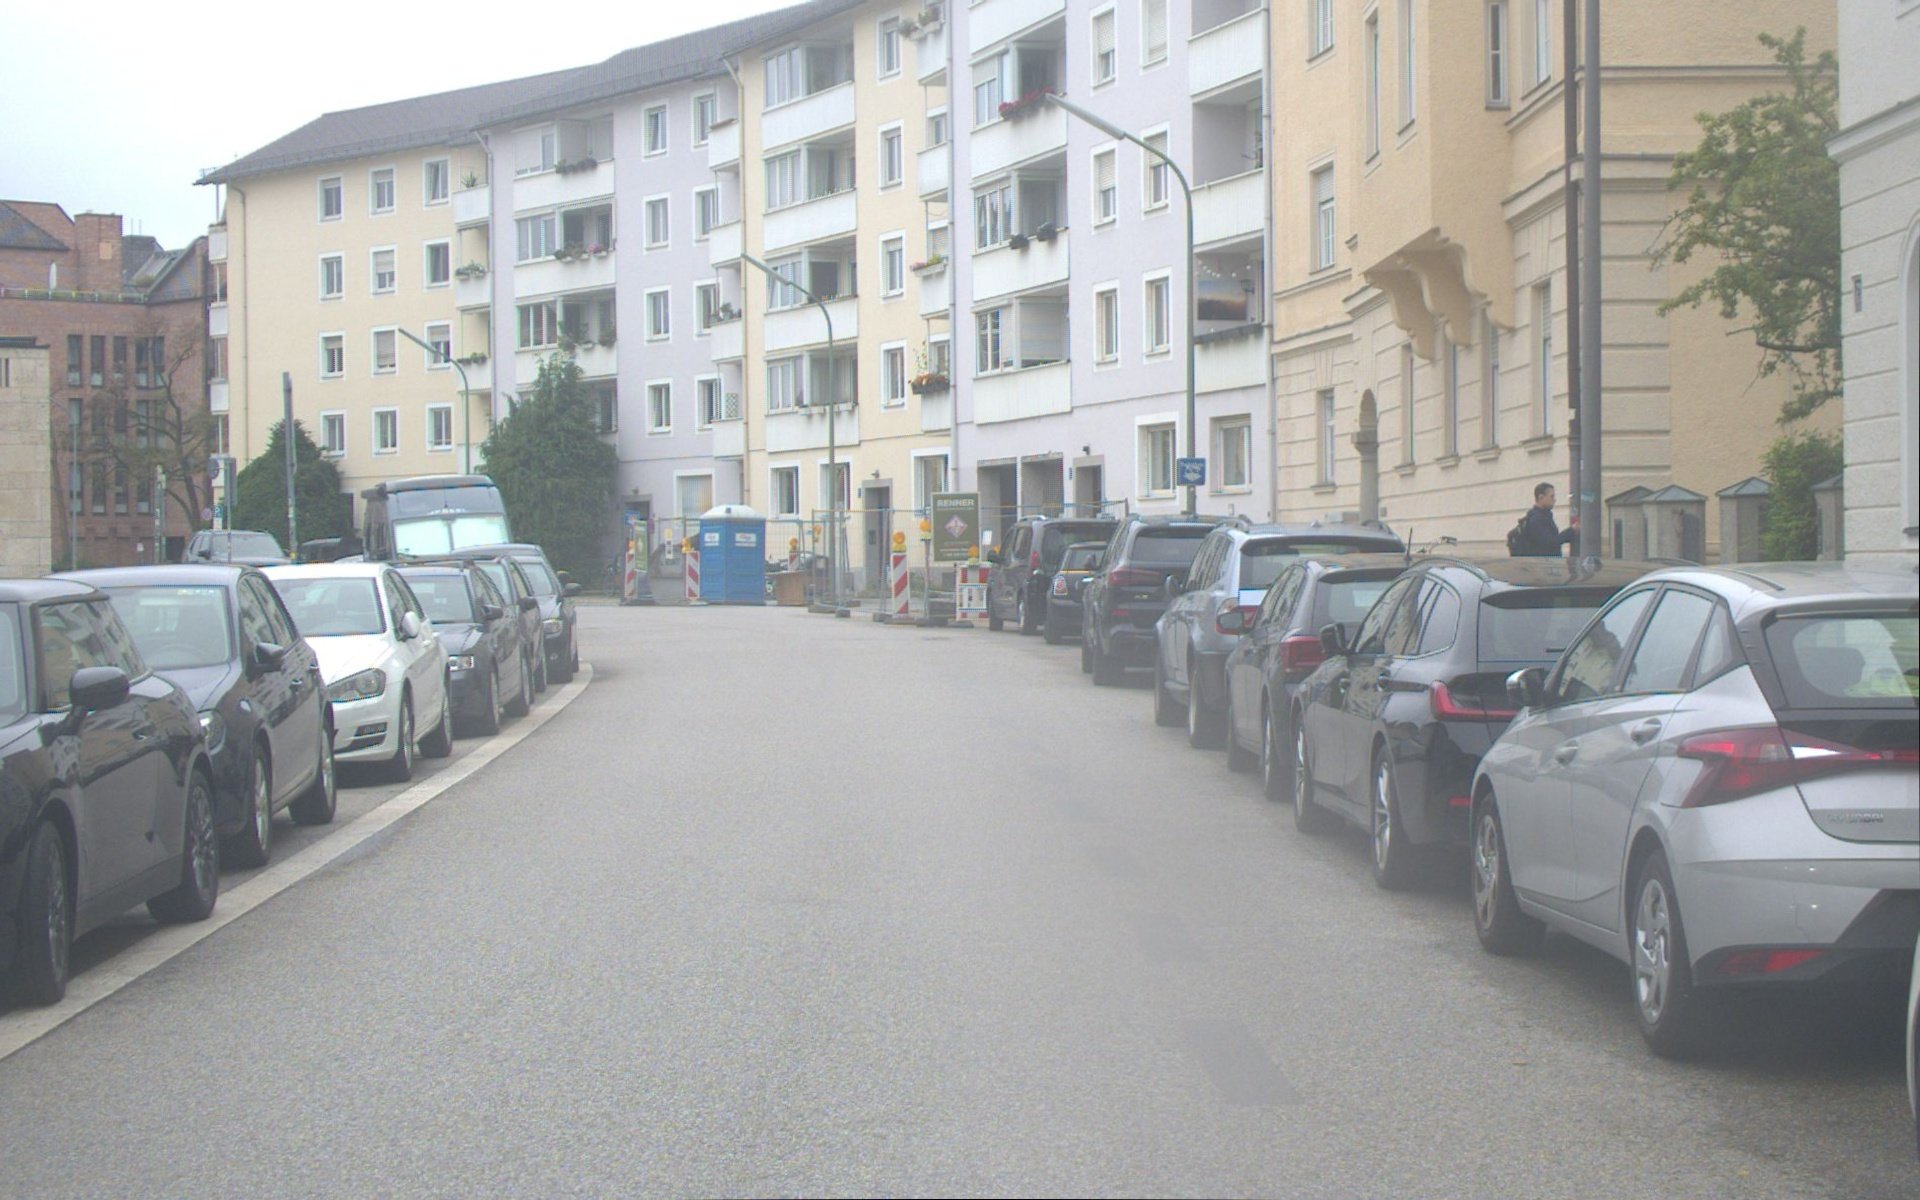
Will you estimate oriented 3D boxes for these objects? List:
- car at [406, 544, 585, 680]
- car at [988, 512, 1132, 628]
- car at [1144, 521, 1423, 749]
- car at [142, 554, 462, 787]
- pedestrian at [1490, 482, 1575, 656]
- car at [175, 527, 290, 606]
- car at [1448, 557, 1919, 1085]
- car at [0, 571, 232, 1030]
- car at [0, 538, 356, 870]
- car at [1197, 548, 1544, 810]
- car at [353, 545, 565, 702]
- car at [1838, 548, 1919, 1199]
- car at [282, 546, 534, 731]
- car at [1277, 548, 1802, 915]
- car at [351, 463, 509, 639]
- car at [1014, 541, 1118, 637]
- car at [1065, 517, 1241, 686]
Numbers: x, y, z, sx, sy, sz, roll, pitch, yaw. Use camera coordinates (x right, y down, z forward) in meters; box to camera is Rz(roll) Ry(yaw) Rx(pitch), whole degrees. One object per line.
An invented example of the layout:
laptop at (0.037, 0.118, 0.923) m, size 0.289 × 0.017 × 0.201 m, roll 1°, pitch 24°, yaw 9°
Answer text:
car at (-5.135, 0.097, 38.354) m, size 1.623 × 1.414 × 3.648 m, roll -1°, pitch 1°, yaw -2°
car at (1.515, -0.483, 52.873) m, size 1.601 × 1.709 × 3.090 m, roll 1°, pitch 1°, yaw -10°
car at (2.389, 0.199, 26.343) m, size 1.590 × 1.577 × 4.299 m, roll 1°, pitch 1°, yaw -2°
car at (-4.407, 0.415, 23.519) m, size 1.623 × 1.414 × 3.982 m, roll -1°, pitch 1°, yaw -3°
pedestrian at (5.663, -0.303, 34.029) m, size 0.667 × 1.687 × 0.690 m, roll 2°, pitch 0°, yaw 0°
car at (-16.071, -0.746, 75.863) m, size 1.599 × 1.643 × 3.141 m, roll 2°, pitch 0°, yaw -28°
car at (2.794, 0.600, 11.344) m, size 1.692 × 1.427 × 3.945 m, roll 1°, pitch 0°, yaw -1°
car at (-3.875, 0.641, 12.601) m, size 1.623 × 1.407 × 3.799 m, roll -2°, pitch 1°, yaw -1°
car at (-4.203, 0.454, 17.851) m, size 1.623 × 1.503 × 3.982 m, roll -1°, pitch 1°, yaw -3°
car at (2.454, 0.421, 21.363) m, size 1.590 × 1.427 × 3.826 m, roll 1°, pitch 1°, yaw -1°
car at (-4.840, 0.186, 33.642) m, size 1.623 × 1.414 × 3.982 m, roll -1°, pitch 1°, yaw -2°
car at (2.896, 0.671, 6.030) m, size 1.599 × 1.486 × 3.799 m, roll 0°, pitch 1°, yaw -2°
car at (-4.583, 0.272, 29.003) m, size 1.623 × 1.414 × 3.982 m, roll -1°, pitch 1°, yaw -2°
car at (2.547, 0.501, 16.109) m, size 1.590 × 1.427 × 4.421 m, roll 1°, pitch 1°, yaw -1°
car at (-8.332, -0.775, 53.815) m, size 1.770 × 2.645 × 4.001 m, roll 0°, pitch 1°, yaw -19°
car at (1.459, -0.166, 47.946) m, size 1.272 × 1.294 × 2.798 m, roll 0°, pitch 1°, yaw -2°
car at (1.965, -0.027, 35.909) m, size 1.474 × 1.635 × 4.001 m, roll 1°, pitch 1°, yaw -2°
